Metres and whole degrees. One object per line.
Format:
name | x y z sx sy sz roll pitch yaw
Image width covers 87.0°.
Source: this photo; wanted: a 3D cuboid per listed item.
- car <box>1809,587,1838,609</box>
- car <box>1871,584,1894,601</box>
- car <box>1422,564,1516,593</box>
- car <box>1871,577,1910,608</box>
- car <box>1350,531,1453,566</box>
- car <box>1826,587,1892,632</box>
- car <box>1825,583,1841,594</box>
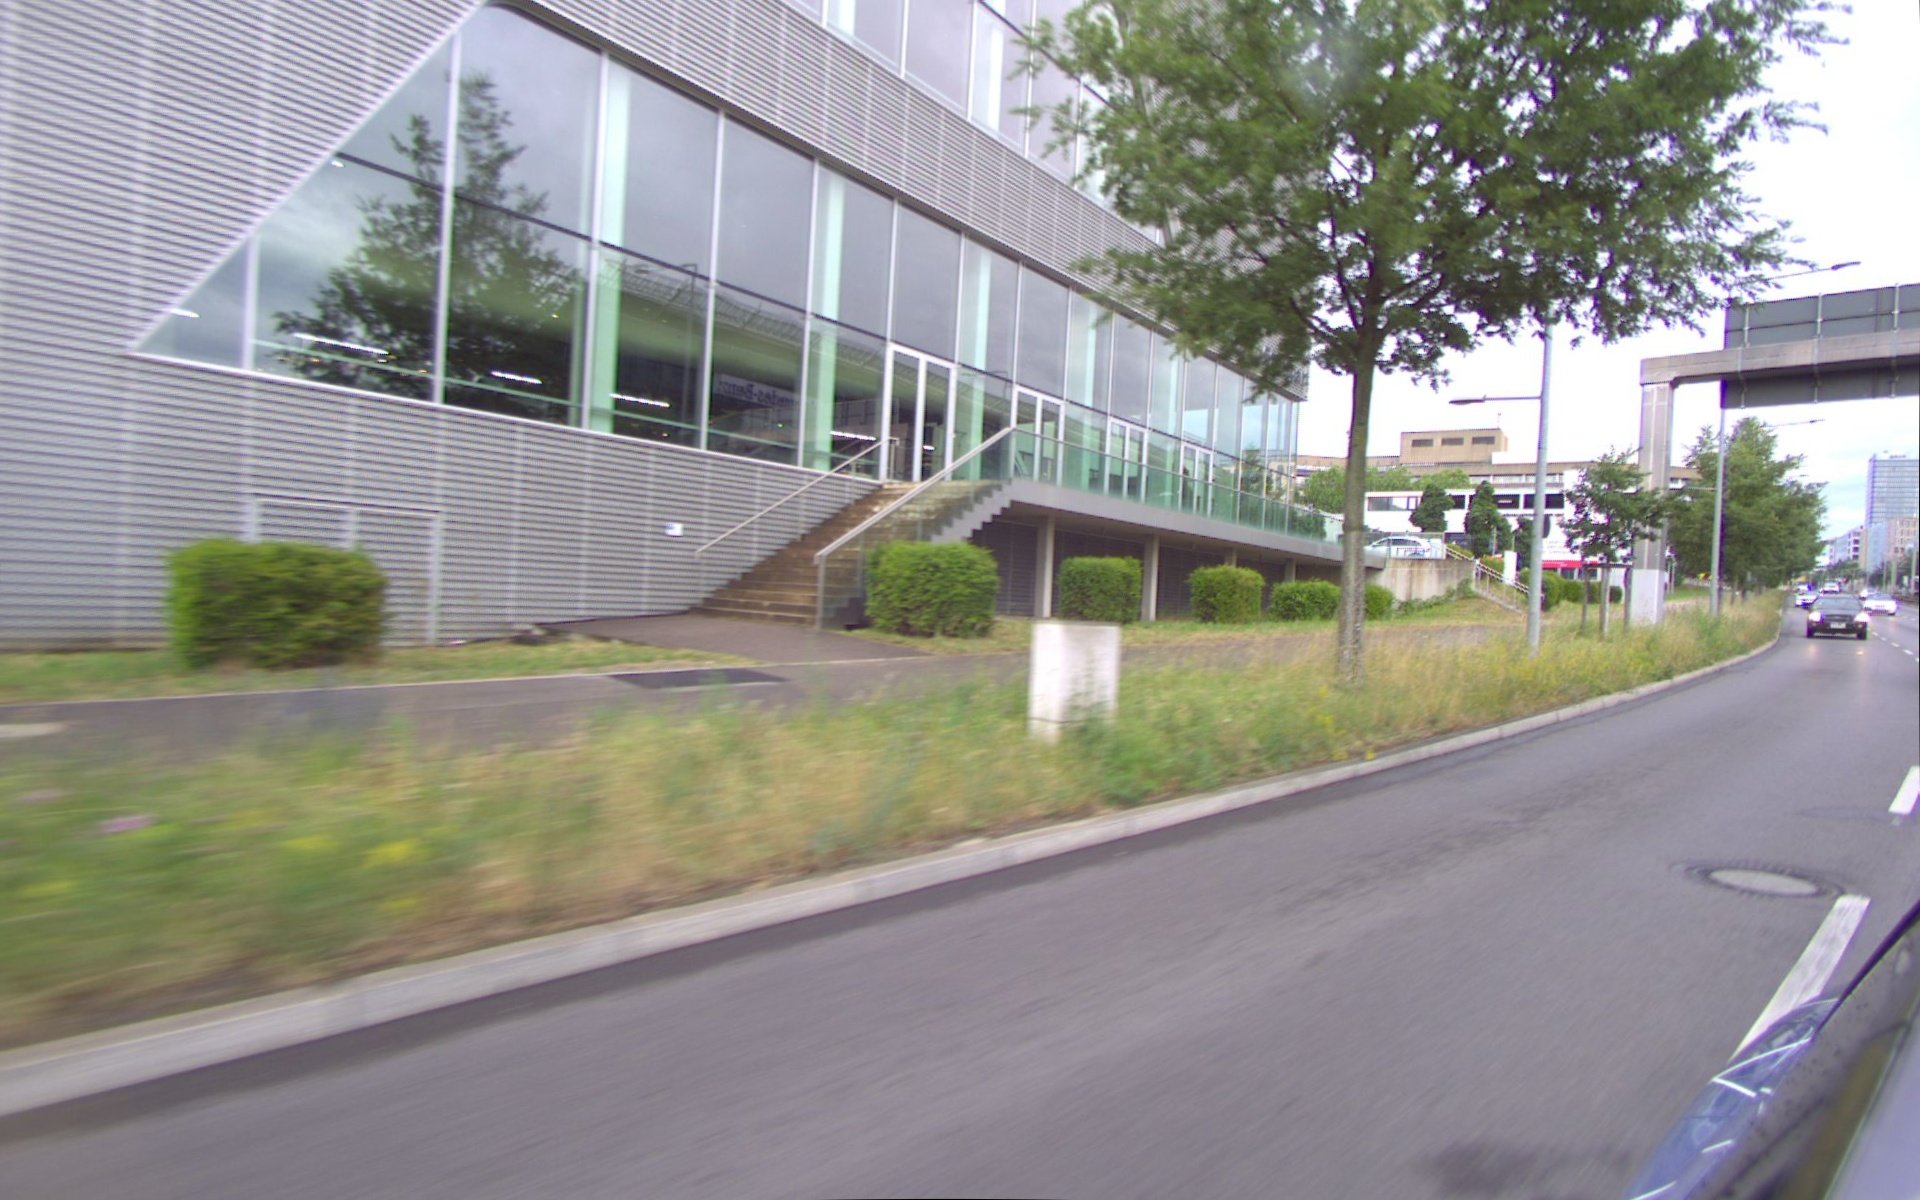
car | 76.765 -0.196 89.959 1.855 1.833 4.050 1 0 42
car | 114.213 -0.930 125.360 1.992 2.038 3.941 0 2 41
car | 28.244 -1.207 56.242 4.414 1.594 1.668 2 1 40
car | 65.490 -0.546 71.222 1.993 2.038 3.939 1 2 43
car | 21.133 -2.446 48.532 4.253 1.594 1.668 2 1 40
car | 34.534 0.359 38.934 1.822 1.629 4.052 1 0 41
car | 145.370 -1.925 168.535 1.992 1.871 3.941 1 2 41
